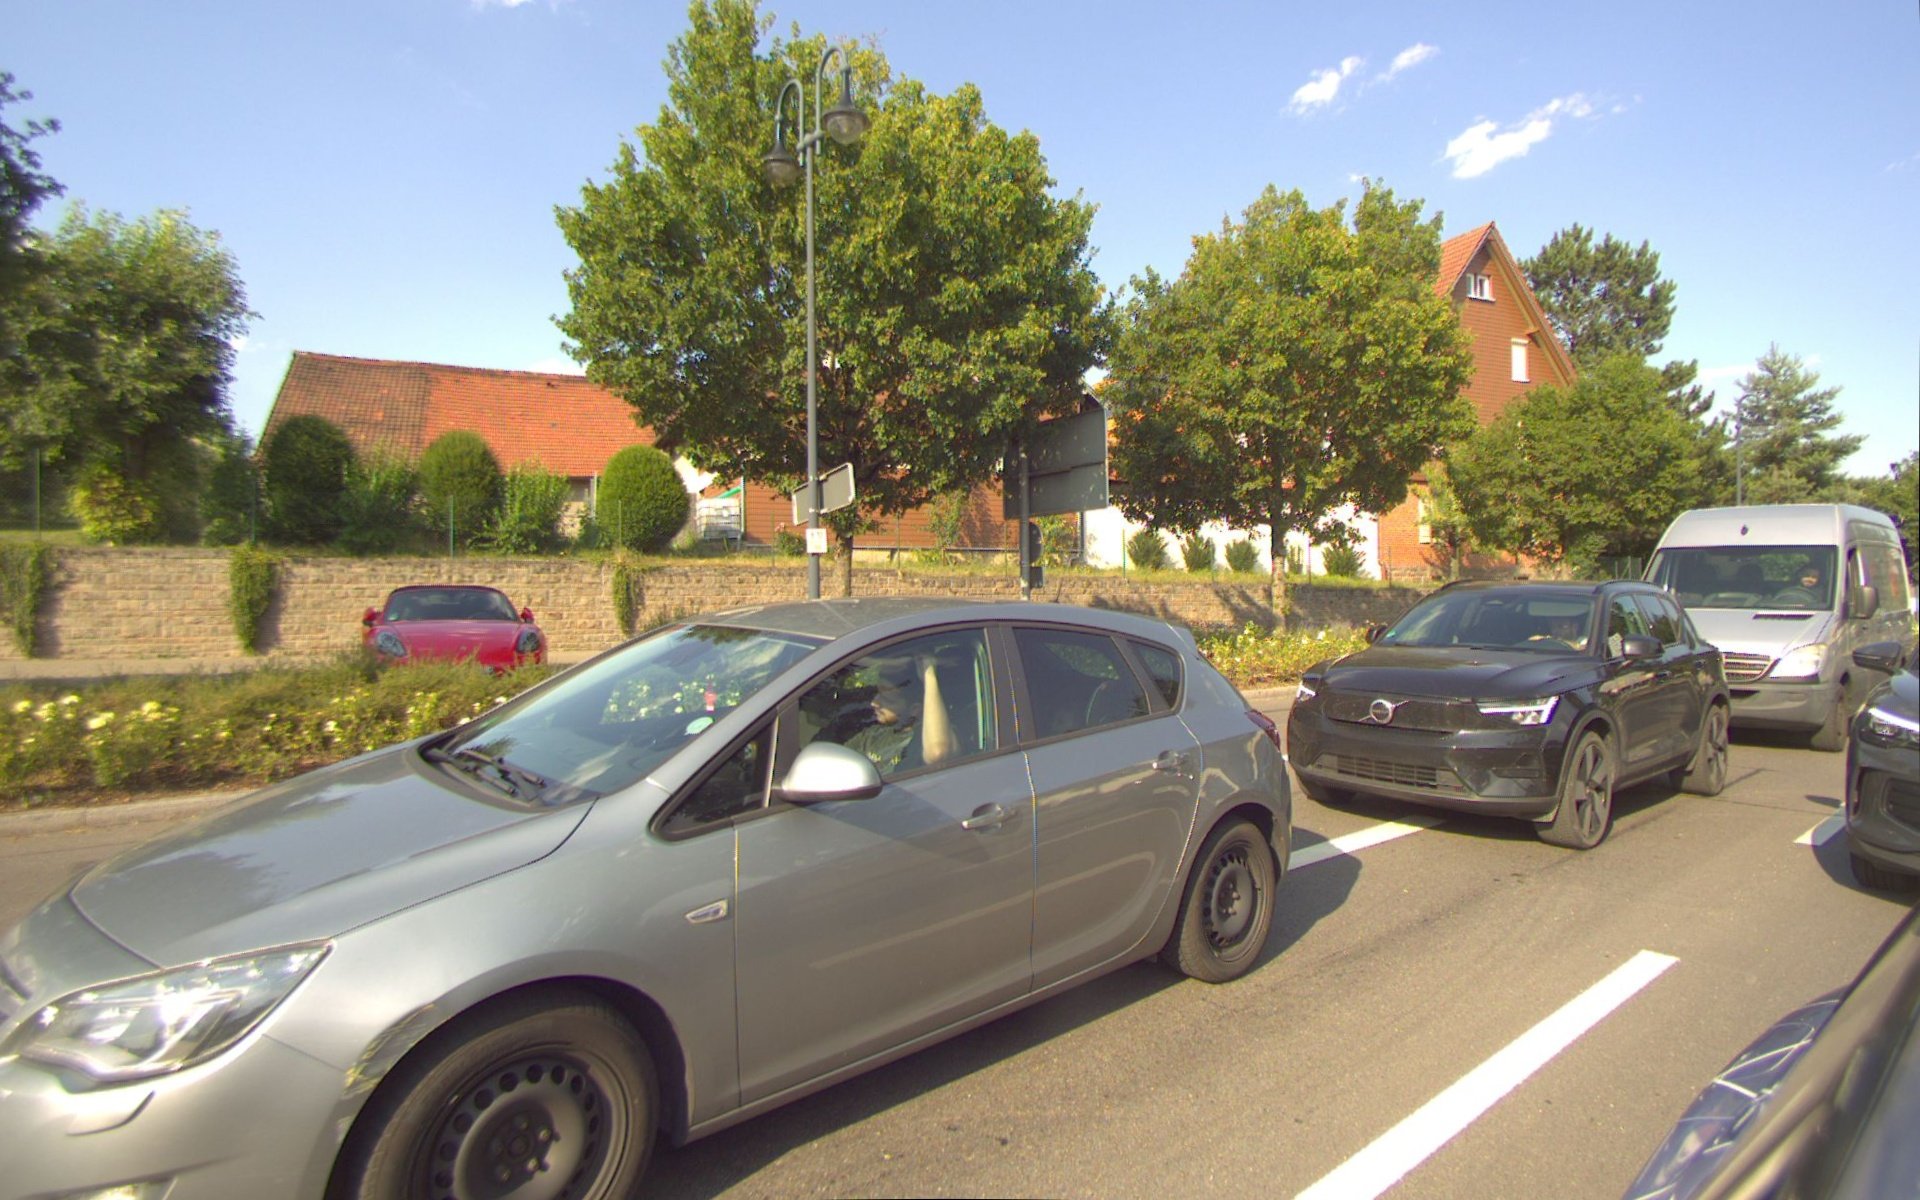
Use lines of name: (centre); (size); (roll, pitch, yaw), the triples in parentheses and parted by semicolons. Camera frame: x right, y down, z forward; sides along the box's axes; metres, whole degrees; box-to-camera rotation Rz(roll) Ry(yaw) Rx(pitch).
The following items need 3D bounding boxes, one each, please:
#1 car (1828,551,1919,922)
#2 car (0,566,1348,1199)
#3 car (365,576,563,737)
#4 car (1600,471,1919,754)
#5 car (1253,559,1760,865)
car: (6.239, 0.614, 5.335); (4.242, 1.629, 1.844); (0, 2, -40)
car: (-0.534, 0.661, 3.521); (4.244, 1.471, 1.765); (0, 2, -42)
car: (-5.871, 0.519, 11.713); (1.743, 1.510, 4.156); (0, 0, -31)
car: (9.788, 0.081, 11.997); (5.938, 2.601, 1.992); (0, 1, -40)
car: (4.185, 0.562, 7.450); (4.242, 1.629, 1.844); (0, 2, -40)
